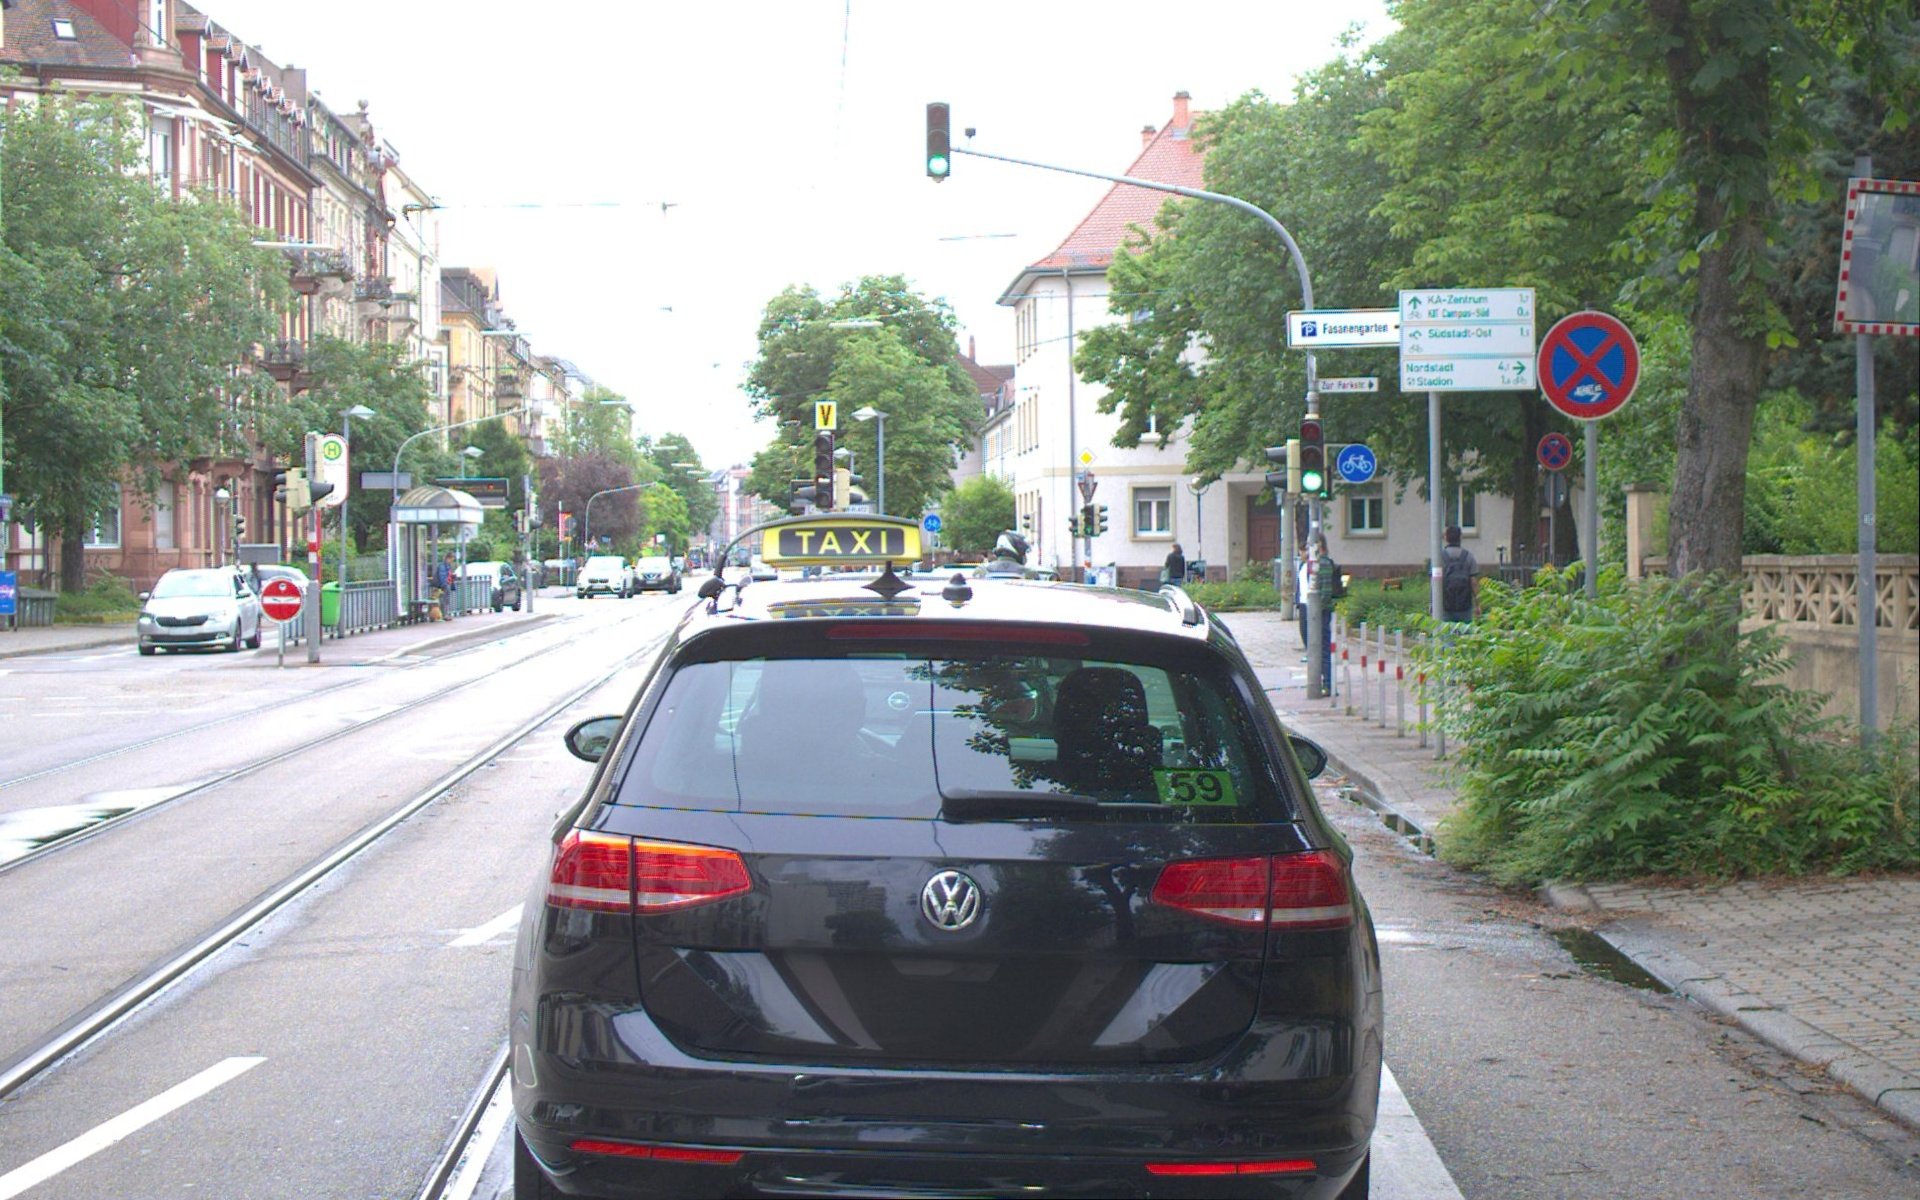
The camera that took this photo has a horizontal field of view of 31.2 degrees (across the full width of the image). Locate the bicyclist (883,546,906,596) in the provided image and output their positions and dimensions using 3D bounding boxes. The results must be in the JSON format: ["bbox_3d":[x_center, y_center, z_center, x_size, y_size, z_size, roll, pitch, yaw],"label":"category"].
[{"bbox_3d":[-2.079,-0.927,108.677,0.651,1.563,0.695,-1,1,5],"label":"bicyclist"}]

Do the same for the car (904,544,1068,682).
[{"bbox_3d":[0.256,0.111,40.248,1.723,1.541,4.001,0,1,-3],"label":"car"}]

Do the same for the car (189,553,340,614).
[{"bbox_3d":[-19.222,-0.458,95.161,1.725,1.617,3.854,0,1,40],"label":"car"}]

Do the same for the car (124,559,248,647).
[{"bbox_3d":[-13.328,0.021,59.379,1.688,1.406,4.001,-2,1,-7],"label":"car"}]

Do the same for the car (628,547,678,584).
[{"bbox_3d":[-13.364,-1.512,149.888,1.795,1.590,4.000,-1,1,0],"label":"car"}]

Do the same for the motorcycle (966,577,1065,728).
[{"bbox_3d":[0.487,0.431,29.508,0.447,1.231,1.906,-1,1,13],"label":"motorcycle"}]

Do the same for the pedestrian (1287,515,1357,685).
[{"bbox_3d":[4.000,-0.003,37.973,0.585,1.824,0.604,-4,1,-1],"label":"pedestrian"}]

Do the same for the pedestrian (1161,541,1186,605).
[{"bbox_3d":[5.188,-0.648,83.647,0.581,1.548,0.609,0,1,1],"label":"pedestrian"}]

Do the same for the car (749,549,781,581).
[{"bbox_3d":[-12.497,-2.262,220.452,2.032,2.007,4.000,1,0,-3],"label":"car"}]

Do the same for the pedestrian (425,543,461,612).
[{"bbox_3d":[-11.491,-0.495,76.397,0.714,1.515,0.590,-1,1,-1],"label":"pedestrian"}]

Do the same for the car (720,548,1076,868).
[{"bbox_3d":[-0.388,0.493,18.667,1.723,1.541,4.001,0,1,-3],"label":"car"}]

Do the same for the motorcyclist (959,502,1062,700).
[{"bbox_3d":[0.441,0.004,29.635,0.703,1.686,0.804,-1,1,14],"label":"motorcyclist"}]

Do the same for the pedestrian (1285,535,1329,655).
[{"bbox_3d":[5.379,-0.076,53.278,0.514,1.824,0.418,-4,1,-1],"label":"pedestrian"}]

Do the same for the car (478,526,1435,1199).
[{"bbox_3d":[-0.089,0.605,8.194,1.723,1.541,4.001,0,1,-3],"label":"car"}]

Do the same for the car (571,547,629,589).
[{"bbox_3d":[-13.907,-1.256,132.982,1.795,1.590,4.000,-1,1,0],"label":"car"}]

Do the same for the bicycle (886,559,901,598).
[{"bbox_3d":[-2.095,-0.673,108.604,0.297,1.219,1.430,-1,1,5],"label":"bicycle"}]

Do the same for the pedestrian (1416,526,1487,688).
[{"bbox_3d":[5.570,0.070,38.989,0.632,1.808,0.726,-1,1,-5],"label":"pedestrian"}]

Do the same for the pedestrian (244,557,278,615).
[{"bbox_3d":[-18.333,-0.364,90.177,0.589,1.515,0.648,0,1,33],"label":"pedestrian"}]
